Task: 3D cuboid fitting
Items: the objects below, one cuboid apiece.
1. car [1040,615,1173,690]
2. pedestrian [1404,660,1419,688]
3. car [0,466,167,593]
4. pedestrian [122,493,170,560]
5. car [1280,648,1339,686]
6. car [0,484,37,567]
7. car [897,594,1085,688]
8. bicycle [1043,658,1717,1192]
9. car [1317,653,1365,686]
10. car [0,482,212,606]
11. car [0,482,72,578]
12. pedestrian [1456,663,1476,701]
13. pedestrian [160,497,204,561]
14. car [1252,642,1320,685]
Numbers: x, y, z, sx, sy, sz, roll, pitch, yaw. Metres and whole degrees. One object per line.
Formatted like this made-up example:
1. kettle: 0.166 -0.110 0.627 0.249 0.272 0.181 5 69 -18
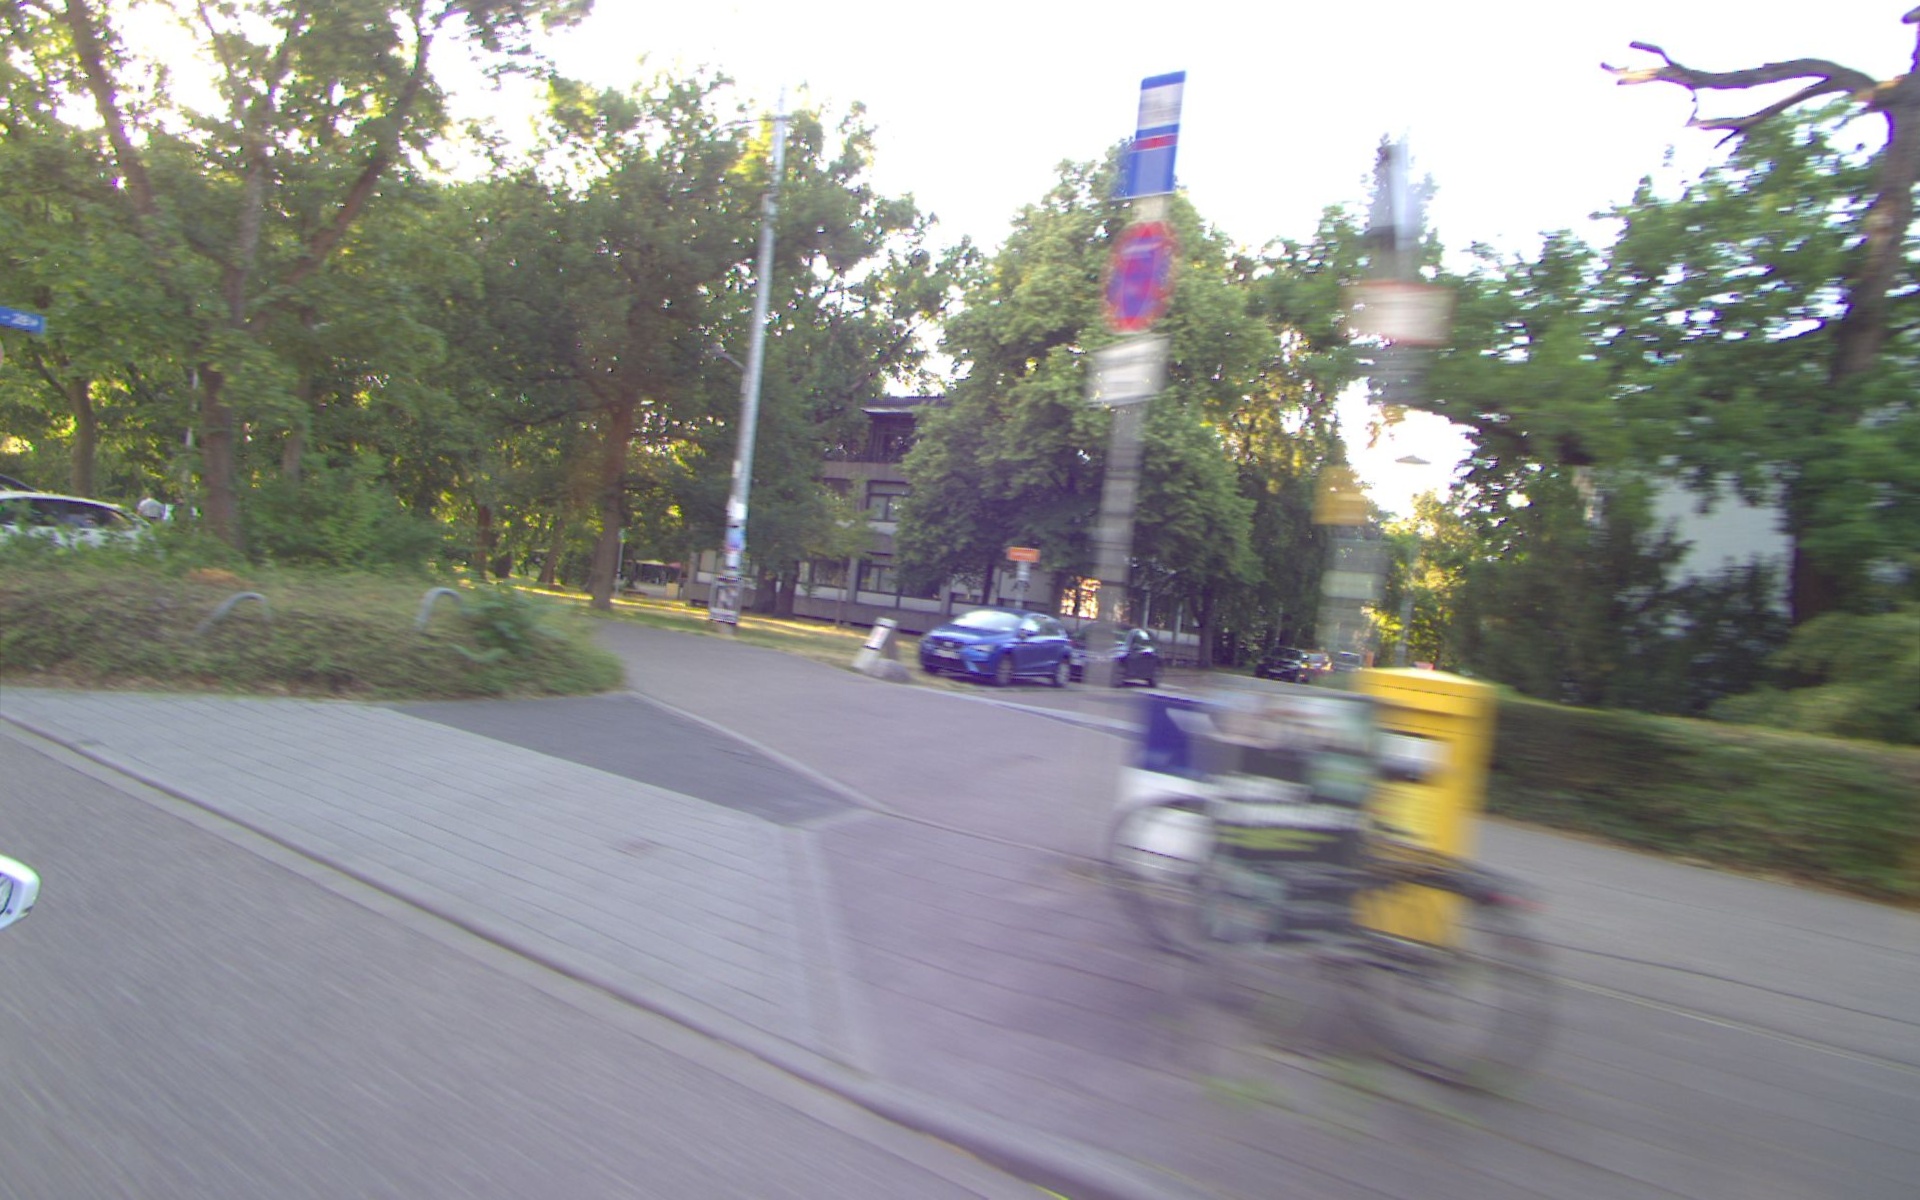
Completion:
1. car: 3.665 1.320 24.568 1.708 1.495 3.993 7 -1 30
2. pedestrian: 31.610 5.150 70.388 0.709 1.860 0.739 7 1 28
3. car: -15.198 -1.188 15.402 1.888 1.804 4.366 7 2 30
4. pedestrian: -23.468 -2.111 28.997 0.772 1.794 0.665 8 1 26
5. car: 16.256 3.144 46.726 1.708 1.495 3.993 7 -1 30
6. car: -20.153 -1.611 18.429 1.888 1.557 4.366 7 1 30
7. car: 0.727 0.860 19.702 1.805 1.459 4.145 7 -1 30
8. bicycle: 1.316 0.953 3.760 0.489 1.164 2.259 3 4 -39
9. car: 20.775 3.803 54.781 1.708 1.495 3.993 7 -1 30
10. car: -13.387 -0.853 14.030 1.698 1.574 4.366 7 1 30
11. car: -17.692 -1.345 16.449 1.844 1.574 4.366 7 1 30
12. pedestrian: 25.734 4.177 51.157 0.709 1.860 0.739 7 1 28
13. pedestrian: -23.157 -2.099 29.945 0.776 1.794 0.648 6 0 26
14. car: 13.560 2.649 41.692 1.708 1.495 3.993 7 -1 30
